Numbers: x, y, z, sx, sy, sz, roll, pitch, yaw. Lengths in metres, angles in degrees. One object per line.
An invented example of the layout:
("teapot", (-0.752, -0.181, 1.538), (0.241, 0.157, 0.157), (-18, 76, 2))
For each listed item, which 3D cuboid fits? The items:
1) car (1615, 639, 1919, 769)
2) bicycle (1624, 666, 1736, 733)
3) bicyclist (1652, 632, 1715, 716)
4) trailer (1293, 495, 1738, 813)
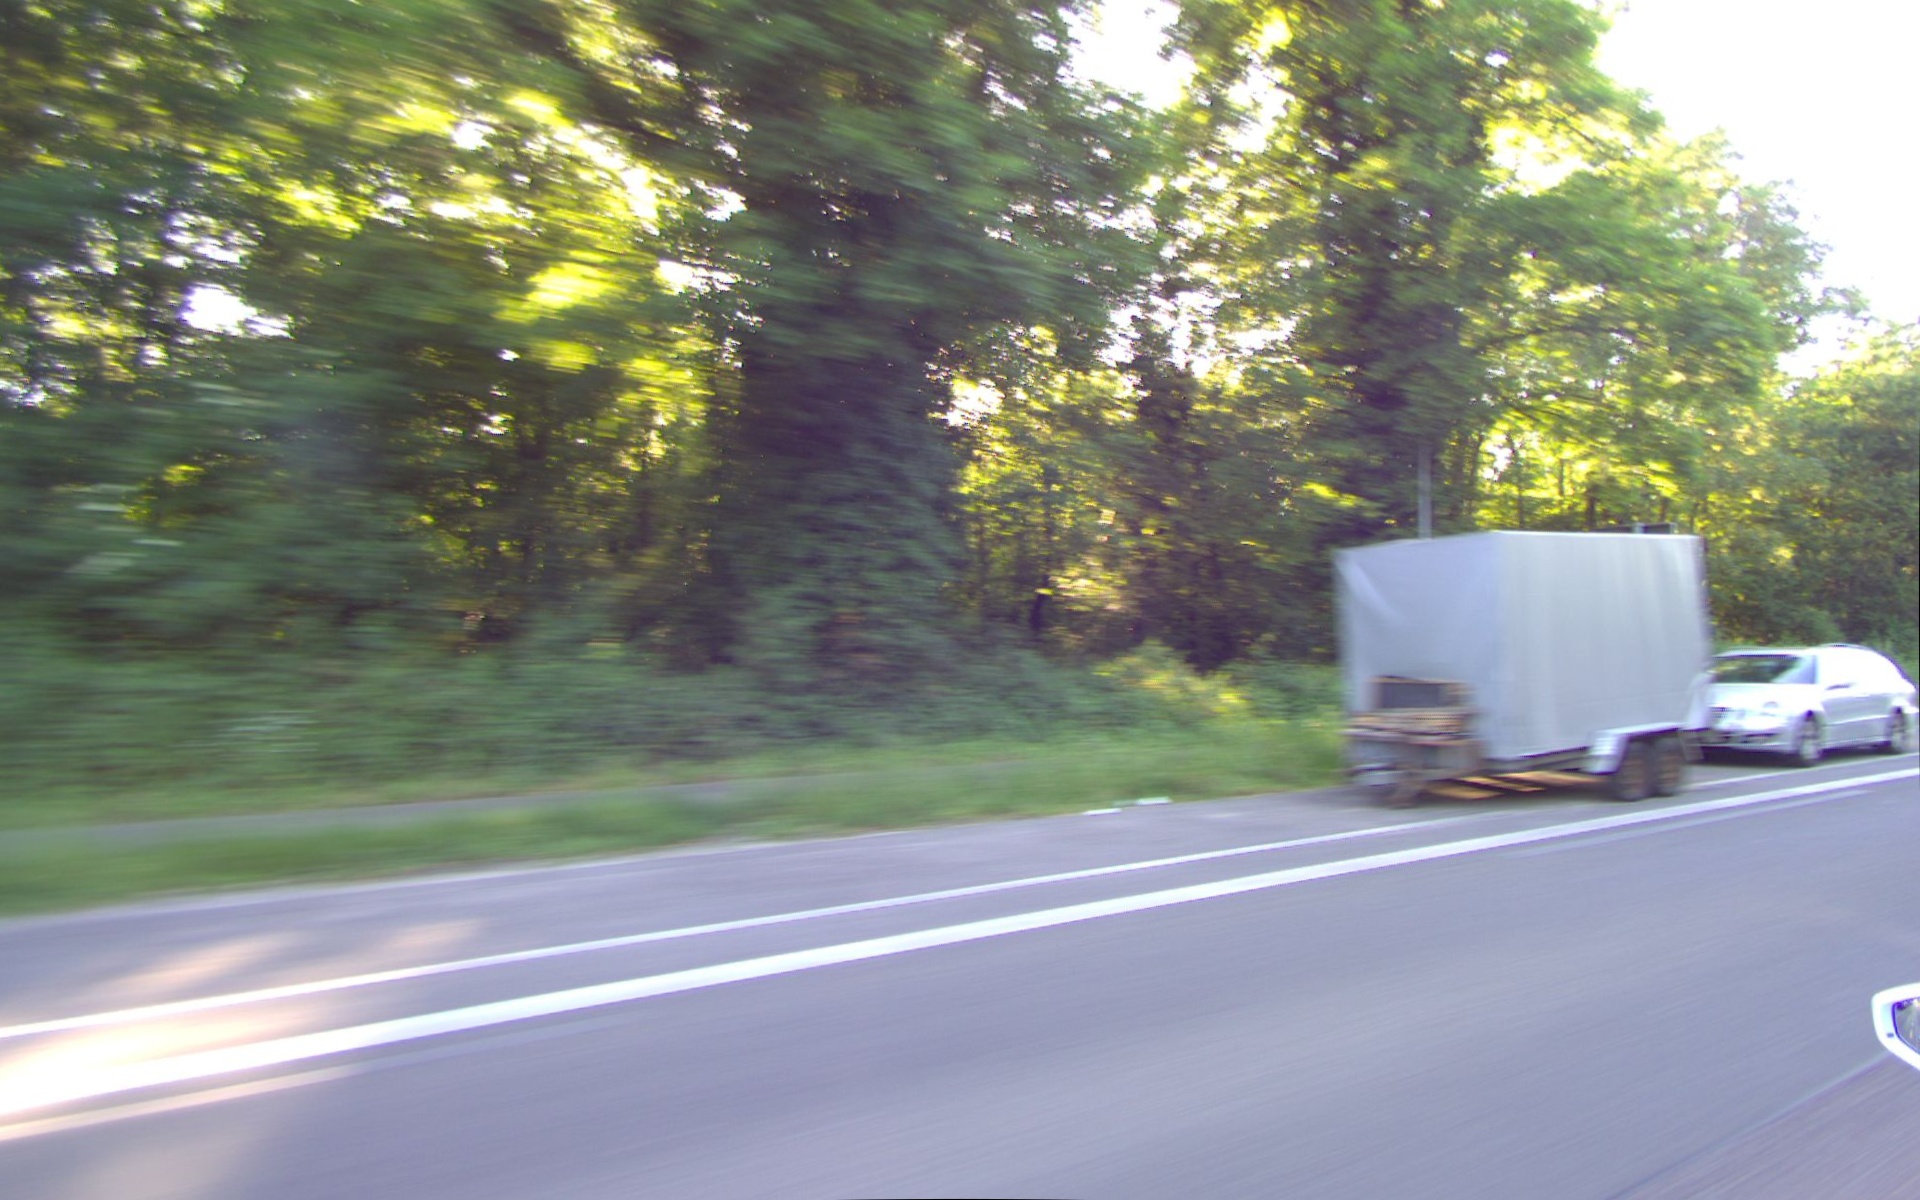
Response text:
("car", (10.900, 1.272, 13.443), (4.573, 1.472, 1.788), (2, -2, -32))
("bicycle", (12.430, 1.686, 17.315), (2.368, 1.022, 0.648), (2, -1, -30))
("bicyclist", (12.477, 1.257, 17.316), (0.789, 1.392, 0.602), (1, 0, -30))
("trailer", (5.721, 0.539, 10.276), (4.363, 2.631, 1.985), (1, -3, -30))
